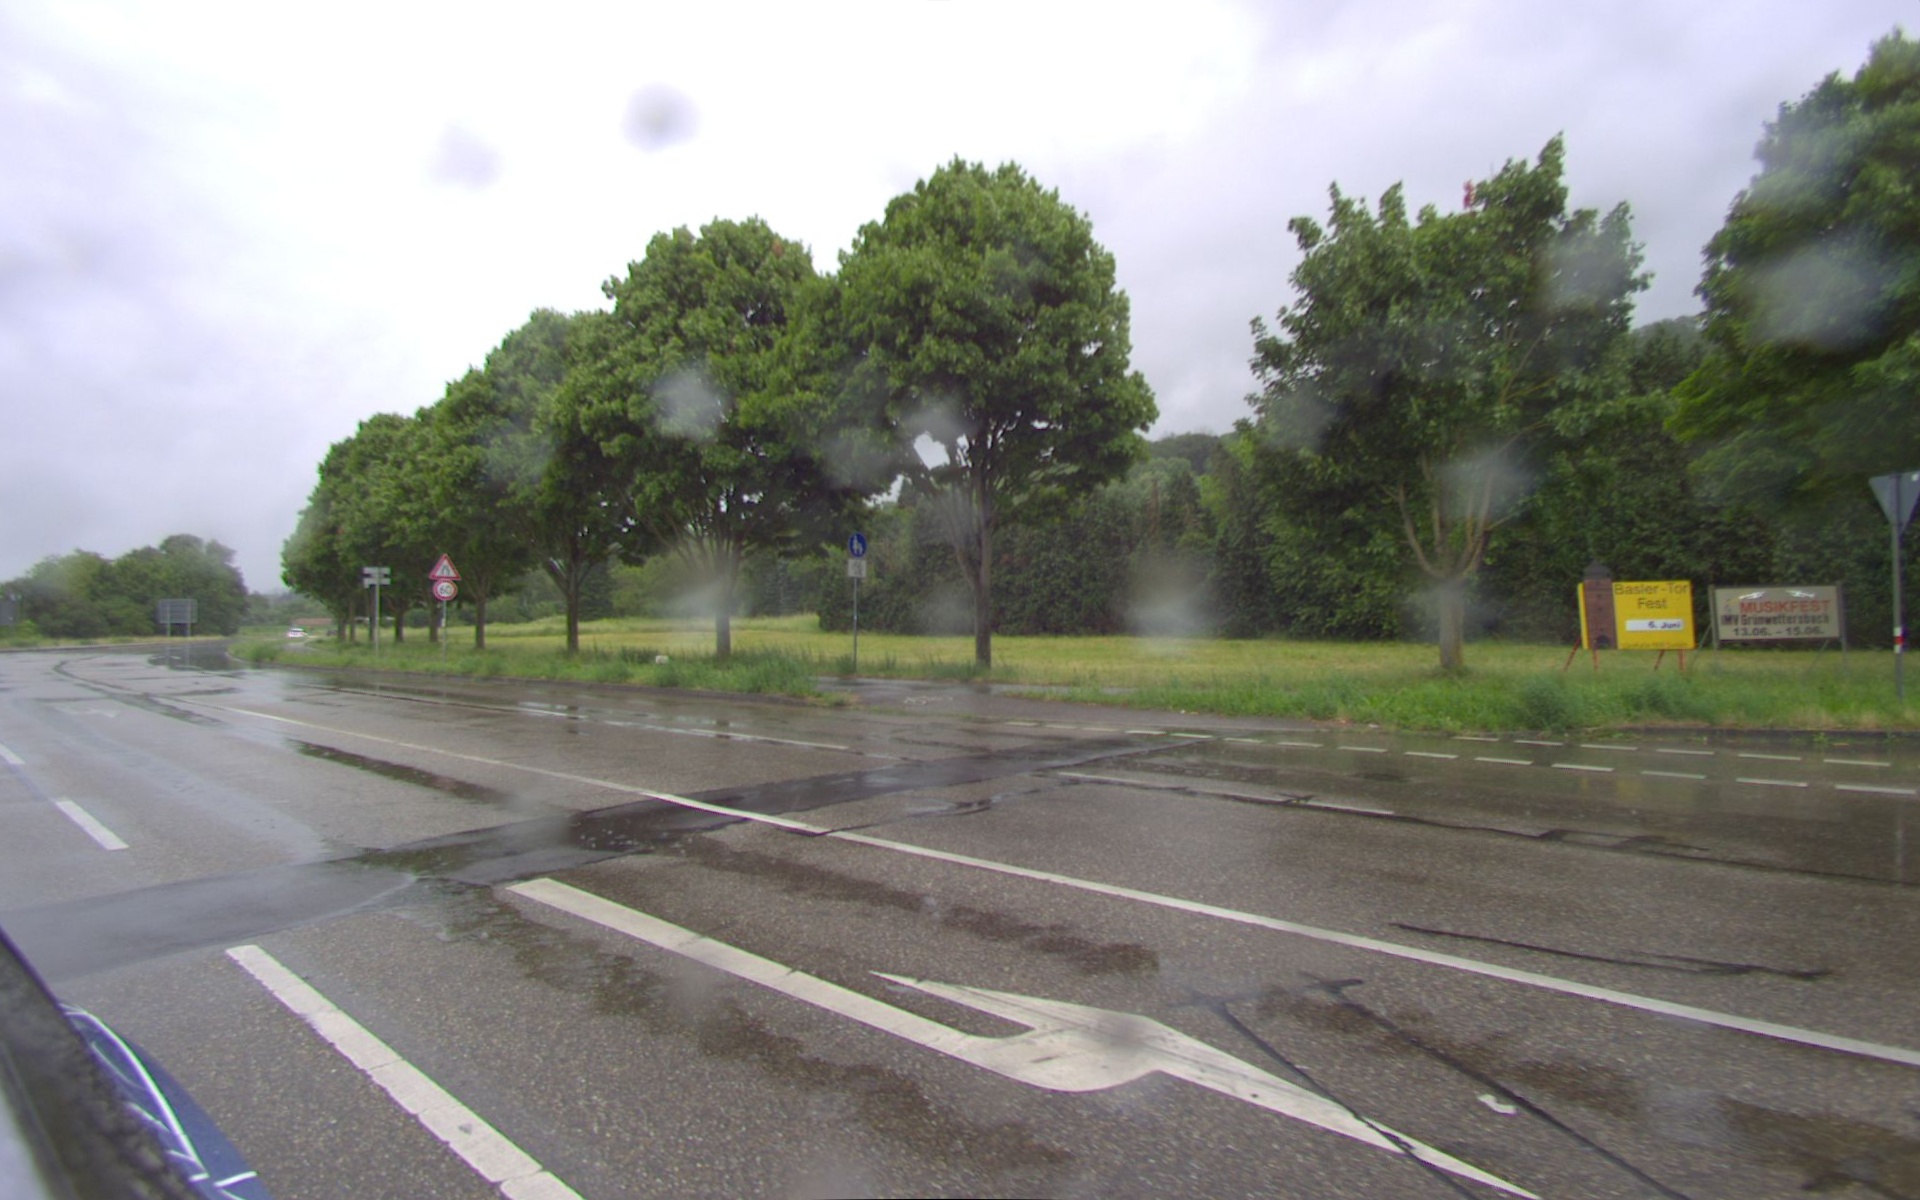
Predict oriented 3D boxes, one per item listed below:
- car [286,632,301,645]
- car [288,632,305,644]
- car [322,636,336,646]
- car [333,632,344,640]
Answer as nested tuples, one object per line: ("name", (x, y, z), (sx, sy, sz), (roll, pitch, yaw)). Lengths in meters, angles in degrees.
("car", (-100.495, 5.782, 152.577), (1.715, 2.006, 4.022), (2, -3, -32))
("car", (-90.072, 5.217, 137.478), (1.853, 1.585, 4.657), (2, -3, -33))
("car", (-110.049, 7.163, 176.449), (1.859, 1.599, 4.129), (-2, 0, -34))
("car", (-117.750, 6.753, 191.783), (1.715, 1.498, 4.021), (2, -3, -33))
